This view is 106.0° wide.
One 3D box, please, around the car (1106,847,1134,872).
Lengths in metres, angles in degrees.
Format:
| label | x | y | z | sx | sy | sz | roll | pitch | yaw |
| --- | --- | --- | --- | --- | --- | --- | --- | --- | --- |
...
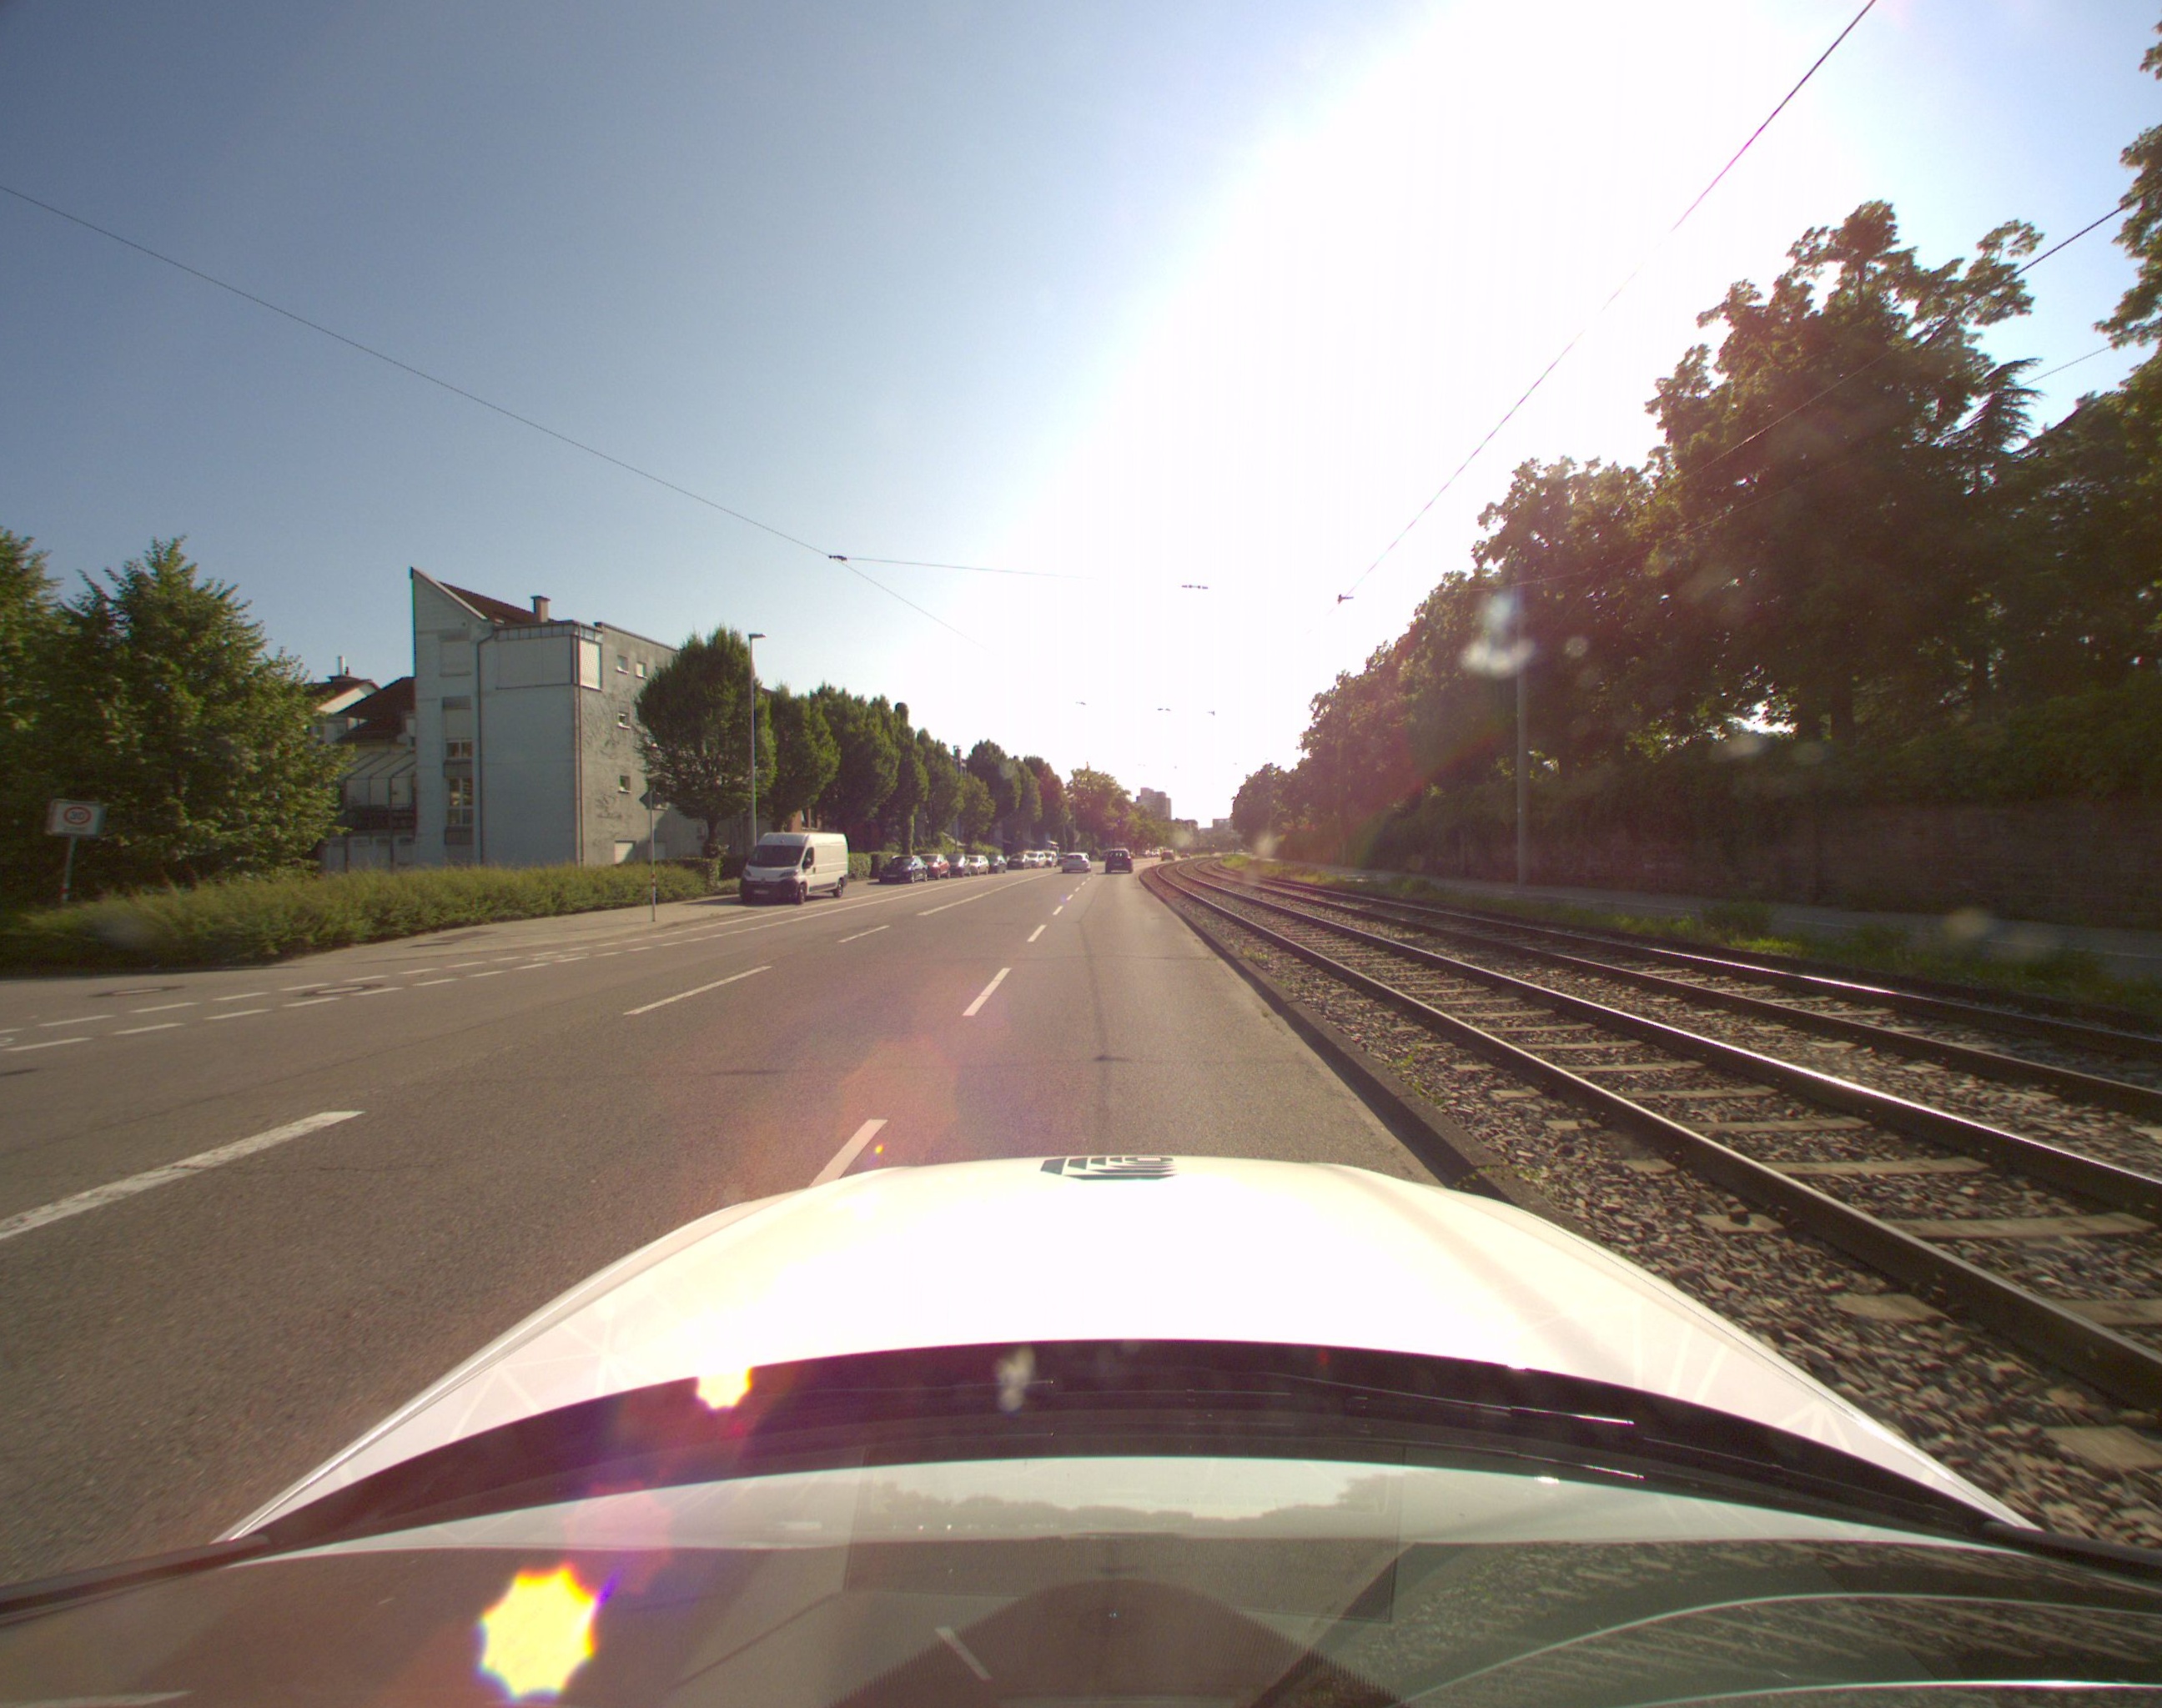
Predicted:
| label | x | y | z | sx | sy | sz | roll | pitch | yaw |
| --- | --- | --- | --- | --- | --- | --- | --- | --- | --- |
| car | 2.699 | 0.381 | 56.279 | 1.803 | 1.644 | 4.005 | 0 | 0 | 4 |

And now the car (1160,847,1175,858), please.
| label | x | y | z | sx | sy | sz | roll | pitch | yaw |
| --- | --- | --- | --- | --- | --- | --- | --- | --- | --- |
| car | 12.471 | -0.212 | 117.065 | 1.800 | 1.449 | 4.013 | 0 | 1 | 11 |

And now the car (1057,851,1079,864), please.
| label | x | y | z | sx | sy | sz | roll | pitch | yaw |
| --- | --- | --- | --- | --- | --- | --- | --- | --- | --- |
| car | -1.600 | 0.416 | 99.831 | 1.751 | 1.539 | 3.994 | 3 | 1 | 11 |

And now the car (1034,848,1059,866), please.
| label | x | y | z | sx | sy | sz | roll | pitch | yaw |
| --- | --- | --- | --- | --- | --- | --- | --- | --- | --- |
| car | -3.745 | 0.297 | 90.046 | 1.752 | 1.845 | 4.592 | 3 | 1 | 9 |

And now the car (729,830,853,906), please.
| label | x | y | z | sx | sy | sz | roll | pitch | yaw |
| --- | --- | --- | --- | --- | --- | --- | --- | --- | --- |
| car | -10.426 | 0.423 | 29.951 | 2.144 | 2.457 | 6.186 | 1 | 1 | 1 |

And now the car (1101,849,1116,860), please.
| label | x | y | z | sx | sy | sz | roll | pitch | yaw |
| --- | --- | --- | --- | --- | --- | --- | --- | --- | --- |
| car | 4.456 | 0.016 | 131.169 | 1.701 | 1.694 | 4.436 | -1 | 0 | 12 |

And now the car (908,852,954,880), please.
| label | x | y | z | sx | sy | sz | roll | pitch | yaw |
| --- | --- | --- | --- | --- | --- | --- | --- | --- | --- |
| car | -9.226 | 0.718 | 50.241 | 1.754 | 1.574 | 4.167 | -1 | 0 | 4 |

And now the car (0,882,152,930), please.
| label | x | y | z | sx | sy | sz | roll | pitch | yaw |
| --- | --- | --- | --- | --- | --- | --- | --- | --- | --- |
| car | -30.262 | 1.540 | 24.347 | 3.755 | 1.268 | 1.751 | -1 | 0 | 14 |

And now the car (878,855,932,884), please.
| label | x | y | z | sx | sy | sz | roll | pitch | yaw |
| --- | --- | --- | --- | --- | --- | --- | --- | --- | --- |
| car | -9.608 | 0.791 | 44.796 | 1.645 | 1.424 | 4.718 | -1 | 0 | 4 |

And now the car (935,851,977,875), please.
| label | x | y | z | sx | sy | sz | roll | pitch | yaw |
| --- | --- | --- | --- | --- | --- | --- | --- | --- | --- |
| car | -8.575 | 0.614 | 56.192 | 1.753 | 1.574 | 4.306 | 1 | 0 | 6 |

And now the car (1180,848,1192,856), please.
| label | x | y | z | sx | sy | sz | roll | pitch | yaw |
| --- | --- | --- | --- | --- | --- | --- | --- | --- | --- |
| car | 19.672 | -0.395 | 152.585 | 1.798 | 1.449 | 4.016 | 0 | 1 | 14 |

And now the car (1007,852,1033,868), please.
| label | x | y | z | sx | sy | sz | roll | pitch | yaw |
| --- | --- | --- | --- | --- | --- | --- | --- | --- | --- |
| car | -5.844 | 0.531 | 78.589 | 1.606 | 1.465 | 4.068 | 0 | 0 | 9 |

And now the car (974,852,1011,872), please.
| label | x | y | z | sx | sy | sz | roll | pitch | yaw |
| --- | --- | --- | --- | --- | --- | --- | --- | --- | --- |
| car | -7.255 | 0.629 | 67.298 | 1.856 | 1.544 | 4.920 | 1 | 0 | 7 |

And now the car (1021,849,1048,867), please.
| label | x | y | z | sx | sy | sz | roll | pitch | yaw |
| --- | --- | --- | --- | --- | --- | --- | --- | --- | --- |
| car | -4.734 | 0.379 | 83.880 | 1.657 | 1.701 | 4.839 | 1 | 0 | 11 |

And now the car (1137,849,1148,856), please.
| label | x | y | z | sx | sy | sz | roll | pitch | yaw |
| --- | --- | --- | --- | --- | --- | --- | --- | --- | --- |
| car | 13.597 | -0.334 | 179.096 | 1.720 | 1.657 | 4.014 | -2 | 0 | 13 |

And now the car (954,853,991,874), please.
| label | x | y | z | sx | sy | sz | roll | pitch | yaw |
| --- | --- | --- | --- | --- | --- | --- | --- | --- | --- |
| car | -8.126 | 0.689 | 61.462 | 1.704 | 1.471 | 4.852 | 1 | 0 | 6 |

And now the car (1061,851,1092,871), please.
| label | x | y | z | sx | sy | sz | roll | pitch | yaw |
| --- | --- | --- | --- | --- | --- | --- | --- | --- | --- |
| car | -0.259 | 0.497 | 57.655 | 1.856 | 1.348 | 4.005 | -1 | 0 | 4 |

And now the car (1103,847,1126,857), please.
| label | x | y | z | sx | sy | sz | roll | pitch | yaw |
| --- | --- | --- | --- | --- | --- | --- | --- | --- | --- |
| car | 8.468 | -0.445 | 203.617 | 5.340 | 2.423 | 2.094 | -2 | 0 | 11 |

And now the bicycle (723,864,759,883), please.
| label | x | y | z | sx | sy | sz | roll | pitch | yaw |
| --- | --- | --- | --- | --- | --- | --- | --- | --- | --- |
| bicycle | -18.232 | 1.061 | 43.685 | 1.672 | 0.977 | 0.644 | -1 | 0 | 10 |
